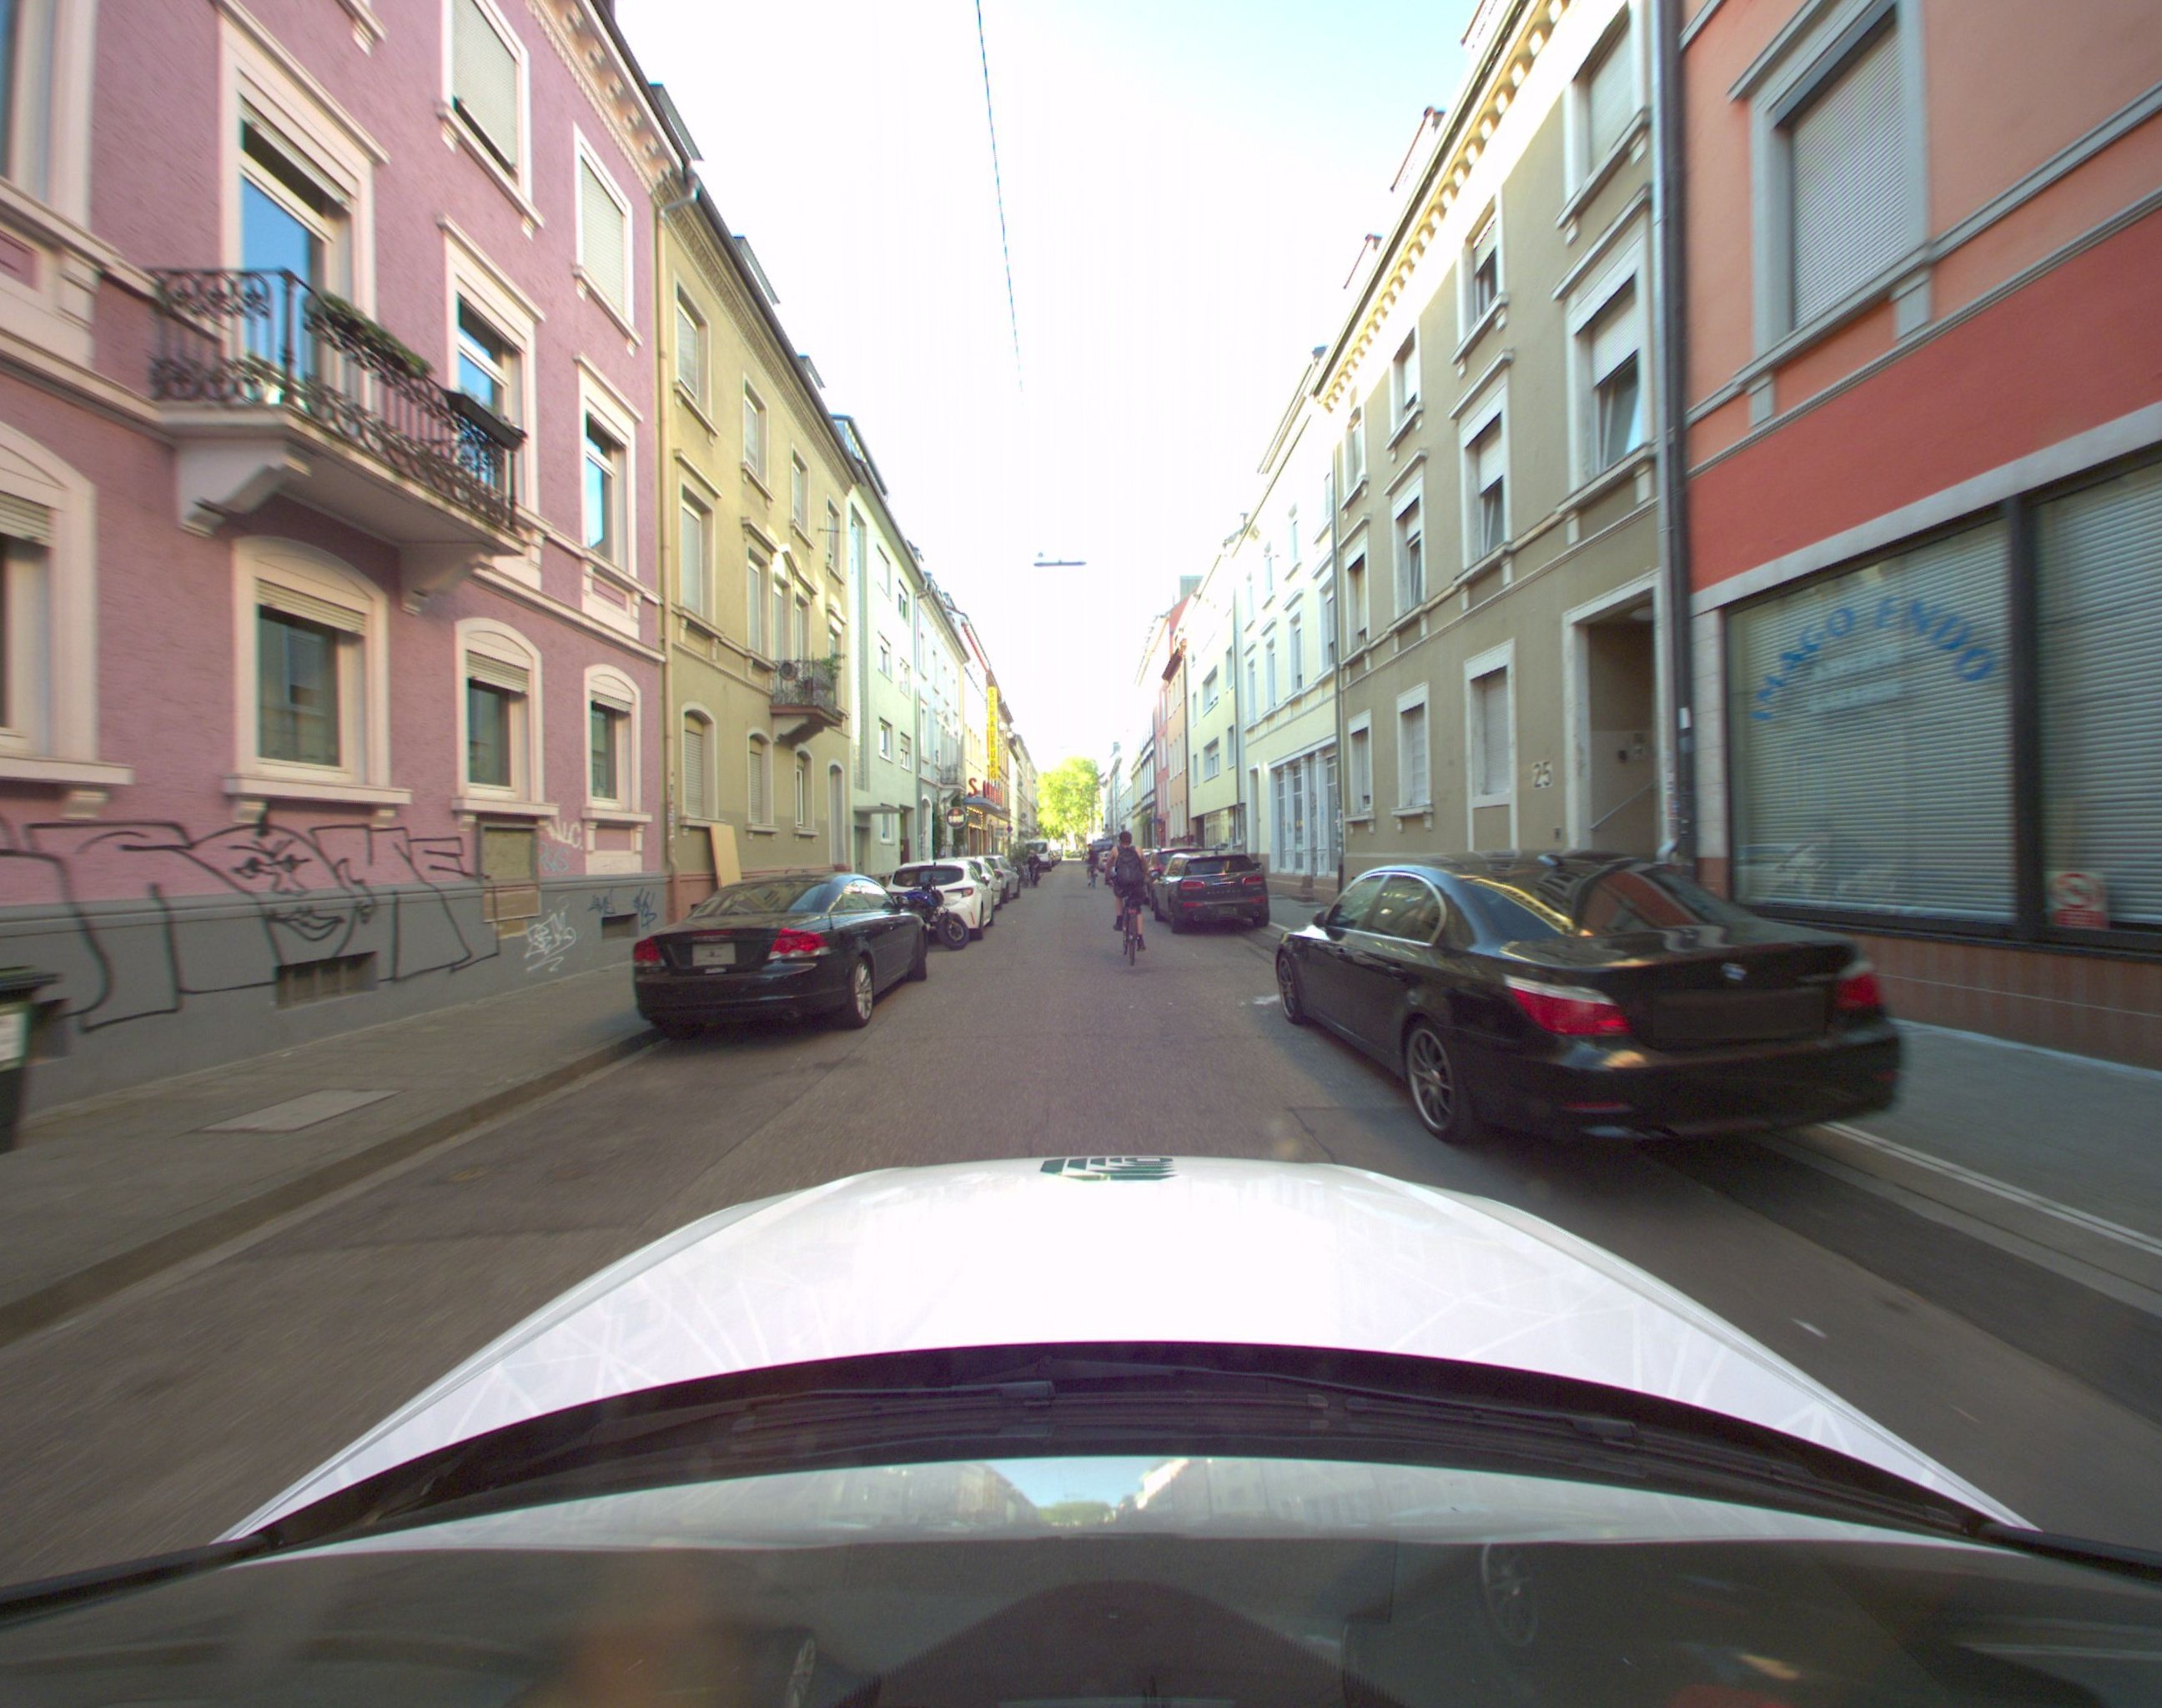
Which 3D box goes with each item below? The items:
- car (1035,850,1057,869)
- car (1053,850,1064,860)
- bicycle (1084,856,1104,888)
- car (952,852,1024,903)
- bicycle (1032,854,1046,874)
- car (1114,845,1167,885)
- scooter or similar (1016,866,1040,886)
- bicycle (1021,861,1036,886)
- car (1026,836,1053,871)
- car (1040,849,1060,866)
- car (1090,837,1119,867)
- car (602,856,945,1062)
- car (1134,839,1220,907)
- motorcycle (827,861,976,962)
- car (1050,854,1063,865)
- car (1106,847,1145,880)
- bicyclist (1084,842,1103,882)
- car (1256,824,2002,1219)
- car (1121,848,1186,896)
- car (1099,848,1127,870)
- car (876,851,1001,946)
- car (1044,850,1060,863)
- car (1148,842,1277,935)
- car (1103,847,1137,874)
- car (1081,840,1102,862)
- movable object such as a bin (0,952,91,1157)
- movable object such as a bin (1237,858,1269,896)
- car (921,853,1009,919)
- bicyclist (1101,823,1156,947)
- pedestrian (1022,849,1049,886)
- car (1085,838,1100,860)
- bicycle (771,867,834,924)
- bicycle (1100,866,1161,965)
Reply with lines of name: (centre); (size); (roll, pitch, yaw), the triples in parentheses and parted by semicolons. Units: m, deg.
car: (-2.952, 0.484, 69.791); (1.667, 1.441, 4.163); (-3, 0, -1)
car: (-3.643, 0.126, 131.167); (1.667, 1.441, 4.163); (-3, 0, -1)
bicycle: (0.535, 0.709, 33.514); (0.700, 1.207, 2.341); (-2, 1, -1)
car: (-2.888, 0.699, 26.075); (1.665, 1.441, 3.755); (-3, 0, 2)
bicycle: (-2.575, 0.592, 49.861); (0.756, 1.163, 2.271); (0, 0, -4)
car: (2.283, 0.413, 32.282); (1.705, 1.383, 3.998); (-3, 0, -1)
scooter or similar: (-2.284, 0.944, 35.157); (0.774, 0.873, 0.764); (0, -1, -37)
bicycle: (-2.436, 0.884, 37.628); (0.698, 1.105, 2.271); (0, 0, -4)
car: (-3.203, -0.056, 62.771); (1.905, 2.496, 4.161); (-2, 0, -3)
car: (-2.935, 0.340, 77.294); (1.667, 1.441, 4.163); (-3, 0, -1)
car: (2.081, -0.158, 74.361); (2.301, 2.537, 6.767); (-3, 0, -1)
car: (-2.714, 0.810, 8.403); (1.704, 1.383, 4.357); (-3, 1, 2)
car: (2.485, 0.479, 21.967); (1.705, 1.556, 3.998); (-3, 0, -1)
motorcycle: (-2.793, 0.864, 12.748); (2.153, 1.359, 0.537); (-4, 1, -19)
car: (-3.546, 0.774, 118.590); (1.667, 1.441, 4.163); (-3, 0, -1)
car: (2.241, 0.478, 41.886); (1.616, 1.550, 3.998); (-3, 0, -1)
bicyclist: (0.521, 0.317, 33.418); (0.700, 1.605, 0.812); (-2, 1, -1)
car: (2.688, 0.663, 5.608); (1.811, 1.438, 4.789); (-3, 0, -1)
car: (2.332, 0.570, 27.037); (1.705, 1.383, 3.998); (-3, 0, -1)
car: (2.291, 0.332, 58.722); (1.705, 1.447, 3.998); (-3, 0, -1)
car: (-2.539, 0.739, 15.437); (1.668, 1.441, 4.162); (-3, 0, -2)
car: (-3.393, 0.291, 95.843); (1.667, 1.441, 4.163); (-3, 0, -1)
car: (2.462, 0.611, 16.216); (1.811, 1.521, 3.998); (-3, 0, -1)
car: (2.230, 0.375, 47.338); (1.705, 1.393, 3.998); (-3, 0, -1)
car: (1.245, -0.365, 99.790); (2.301, 2.537, 6.767); (-3, 0, -1)
movable object such as a bin: (-5.480, 0.989, 4.032); (0.542, 0.945, 0.487); (0, -1, 0)
movable object such as a bin: (5.189, 0.689, 24.651); (0.803, 1.075, 0.678); (-4, 0, 4)
car: (-2.858, 0.749, 20.767); (1.667, 1.441, 3.766); (-3, 0, -1)
bicyclist: (0.638, 0.410, 11.309); (0.700, 1.633, 1.090); (0, 0, -1)
pedestrian: (-1.967, 0.596, 35.418); (0.904, 1.578, 0.764); (0, -1, -37)
car: (2.104, -0.830, 147.185); (2.301, 3.767, 6.767); (-3, 0, -1)
bicycle: (-5.755, 0.830, 16.942); (0.590, 1.089, 2.078); (0, 0, 0)
bicycle: (0.649, 0.792, 11.469); (0.700, 1.208, 2.341); (0, 0, 0)
